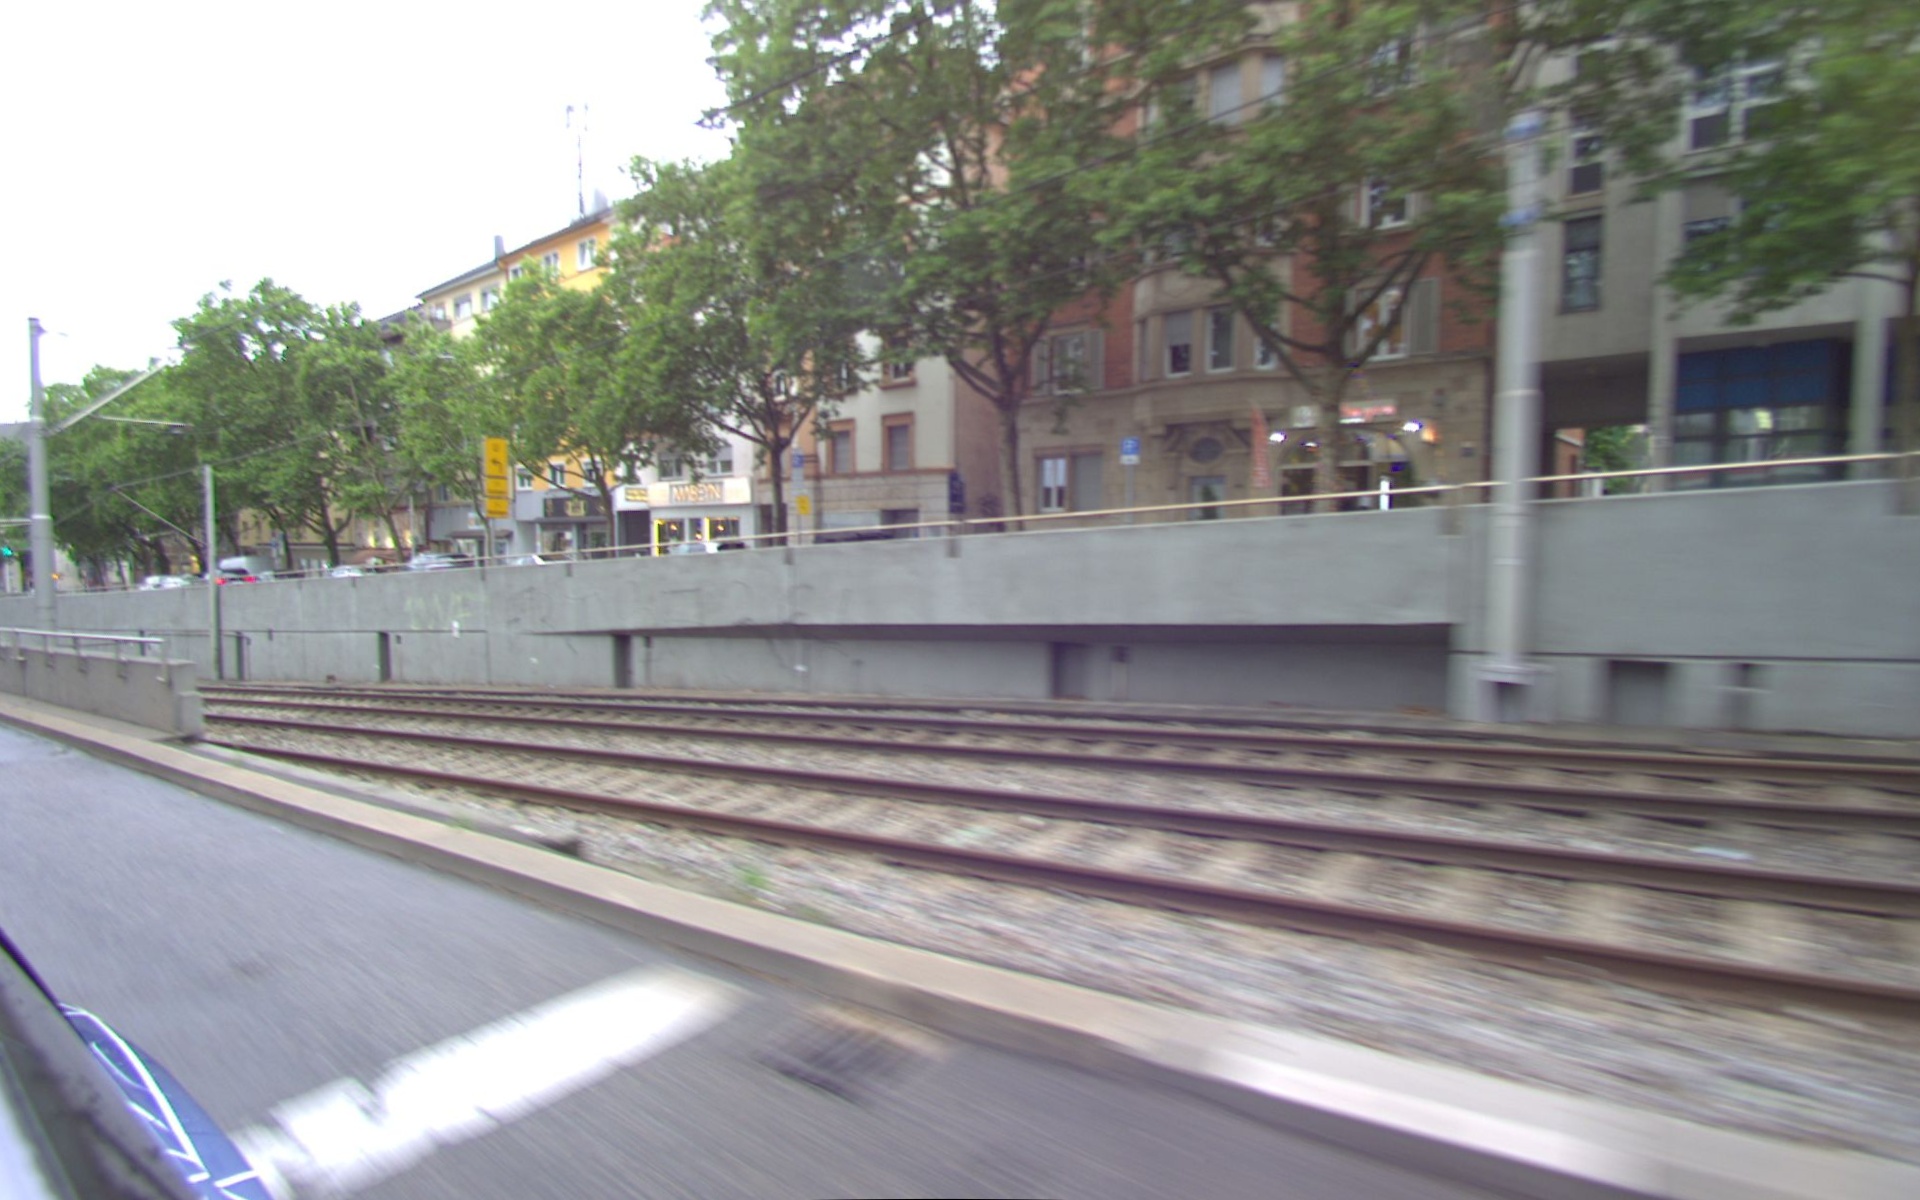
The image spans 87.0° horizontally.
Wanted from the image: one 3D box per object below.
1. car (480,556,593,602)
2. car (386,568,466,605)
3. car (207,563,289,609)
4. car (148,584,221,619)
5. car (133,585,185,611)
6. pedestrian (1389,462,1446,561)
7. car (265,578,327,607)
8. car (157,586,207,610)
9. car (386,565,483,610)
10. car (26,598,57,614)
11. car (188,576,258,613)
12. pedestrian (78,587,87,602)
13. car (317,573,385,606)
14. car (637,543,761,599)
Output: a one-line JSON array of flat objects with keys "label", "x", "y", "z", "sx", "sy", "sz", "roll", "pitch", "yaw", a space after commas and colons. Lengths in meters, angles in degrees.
[{"label": "car", "x": -17.289, "y": -0.825, "z": 41.173, "sx": 5.193, "sy": 1.612, "sz": 1.909, "roll": -1, "pitch": 4, "yaw": 39}, {"label": "car", "x": -25.252, "y": -0.636, "z": 47.846, "sx": 4.204, "sy": 1.521, "sz": 1.777, "roll": -1, "pitch": 4, "yaw": 40}, {"label": "car", "x": -46.750, "y": -0.874, "z": 66.394, "sx": 6.924, "sy": 2.681, "sz": 2.429, "roll": -1, "pitch": 4, "yaw": 39}, {"label": "car", "x": -38.066, "y": 0.085, "z": 49.645, "sx": 3.993, "sy": 1.521, "sz": 1.778, "roll": -1, "pitch": 4, "yaw": 37}, {"label": "car", "x": -63.587, "y": -0.143, "z": 80.308, "sx": 4.889, "sy": 1.777, "sz": 1.861, "roll": -1, "pitch": 4, "yaw": 35}, {"label": "pedestrian", "x": 9.767, "y": -1.880, "z": 21.597, "sx": 0.934, "sy": 2.028, "sz": 0.662, "roll": 1, "pitch": 5, "yaw": 41}, {"label": "car", "x": -40.677, "y": -0.448, "z": 61.980, "sx": 4.667, "sy": 1.521, "sz": 1.777, "roll": -1, "pitch": 4, "yaw": 39}, {"label": "car", "x": -59.447, "y": -0.140, "z": 77.313, "sx": 4.466, "sy": 1.595, "sz": 1.860, "roll": -1, "pitch": 4, "yaw": 38}, {"label": "car", "x": -20.311, "y": -0.451, "z": 39.055, "sx": 4.104, "sy": 1.521, "sz": 1.777, "roll": -1, "pitch": 4, "yaw": 39}, {"label": "car", "x": -96.478, "y": 0.651, "z": 106.272, "sx": 4.015, "sy": 1.521, "sz": 1.828, "roll": -1, "pitch": 4, "yaw": 41}, {"label": "car", "x": -41.481, "y": -0.277, "z": 56.941, "sx": 4.964, "sy": 1.866, "sz": 1.937, "roll": -1, "pitch": 4, "yaw": 40}, {"label": "pedestrian", "x": -106.986, "y": -0.697, "z": 123.398, "sx": 0.674, "sy": 1.822, "sz": 0.582, "roll": 1, "pitch": 5, "yaw": 44}, {"label": "car", "x": -33.174, "y": -0.574, "z": 55.113, "sx": 4.204, "sy": 1.582, "sz": 1.777, "roll": -1, "pitch": 4, "yaw": 40}, {"label": "car", "x": -8.727, "y": -0.952, "z": 33.705, "sx": 4.107, "sy": 1.623, "sz": 1.778, "roll": -1, "pitch": 4, "yaw": 38}]
